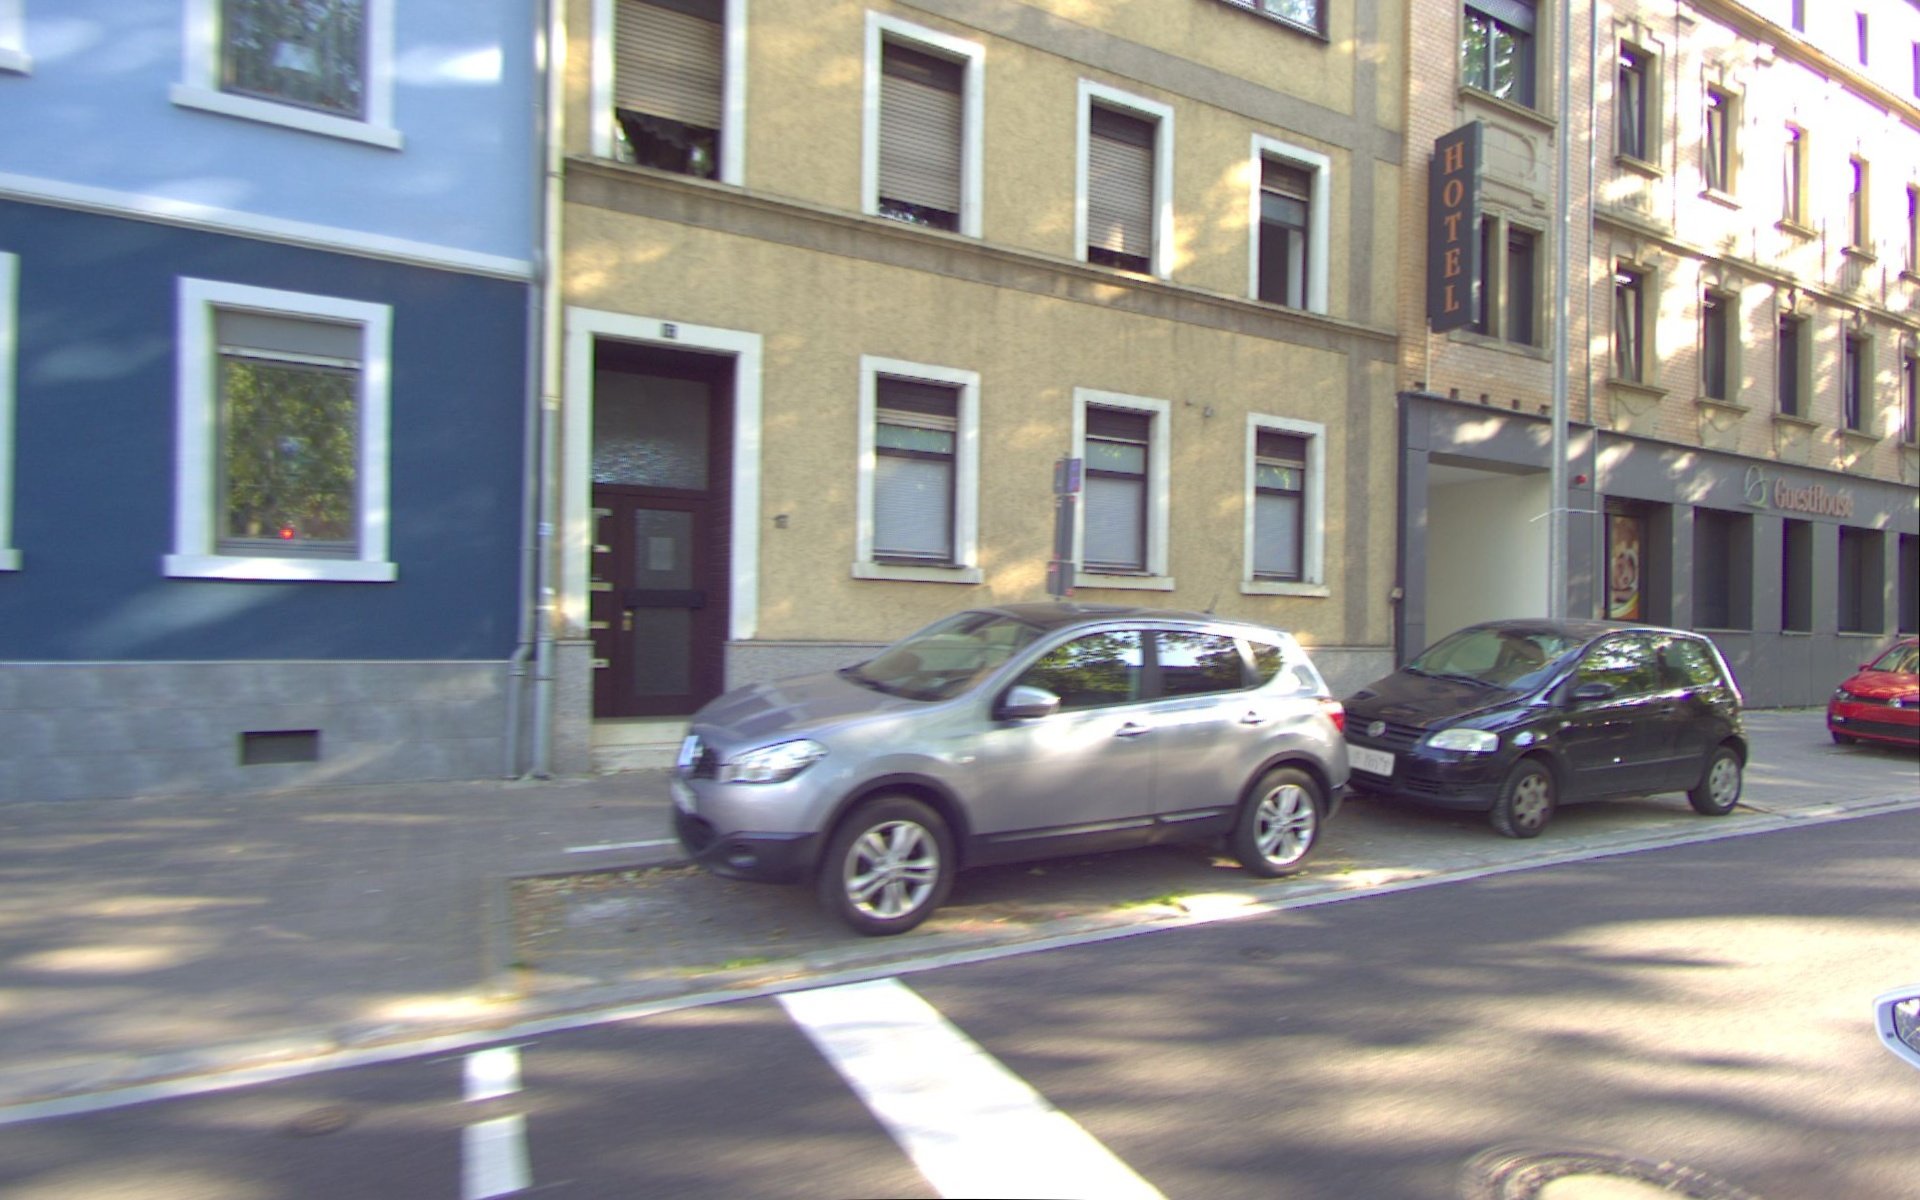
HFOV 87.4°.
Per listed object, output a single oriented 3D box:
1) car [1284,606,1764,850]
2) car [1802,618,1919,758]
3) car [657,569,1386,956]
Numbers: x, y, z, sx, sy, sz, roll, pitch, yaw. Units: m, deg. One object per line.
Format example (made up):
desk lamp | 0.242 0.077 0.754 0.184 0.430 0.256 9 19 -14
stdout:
car | 4.713 0.916 8.389 3.655 1.626 1.673 1 0 -25
car | 12.865 1.092 13.017 3.708 1.613 1.671 1 0 -27
car | 0.424 0.741 6.130 4.102 1.695 1.775 1 0 -27
